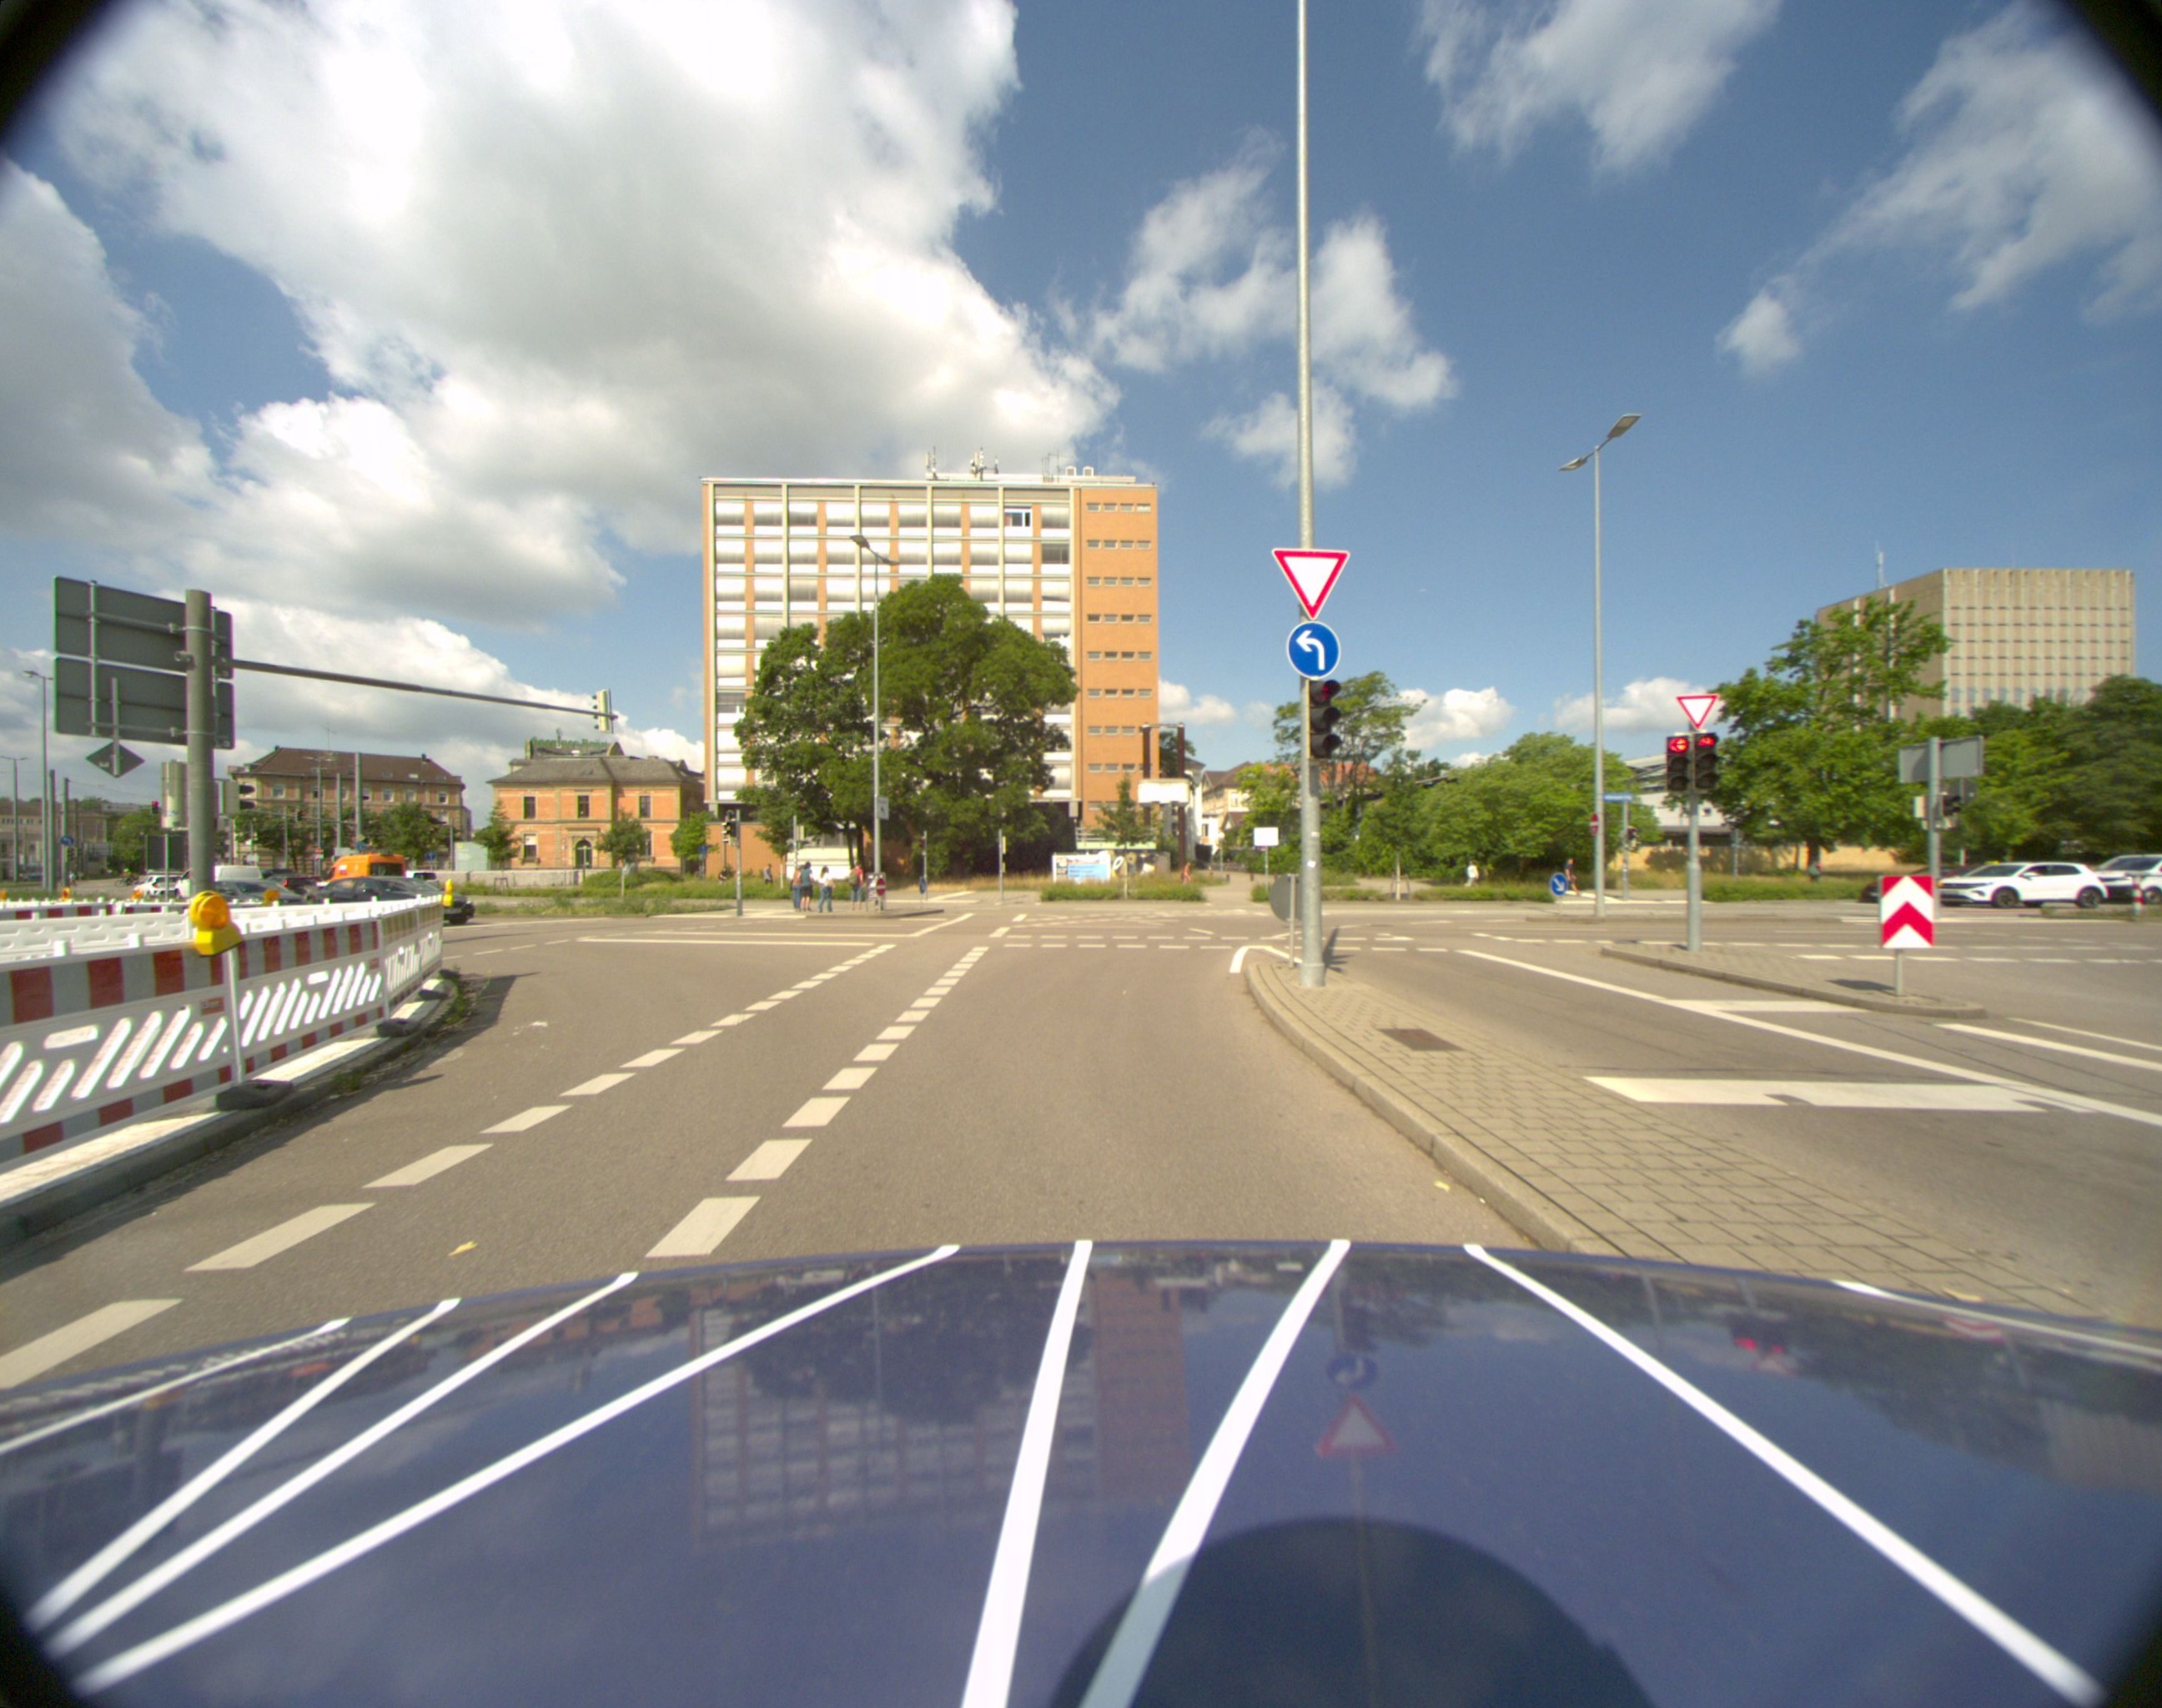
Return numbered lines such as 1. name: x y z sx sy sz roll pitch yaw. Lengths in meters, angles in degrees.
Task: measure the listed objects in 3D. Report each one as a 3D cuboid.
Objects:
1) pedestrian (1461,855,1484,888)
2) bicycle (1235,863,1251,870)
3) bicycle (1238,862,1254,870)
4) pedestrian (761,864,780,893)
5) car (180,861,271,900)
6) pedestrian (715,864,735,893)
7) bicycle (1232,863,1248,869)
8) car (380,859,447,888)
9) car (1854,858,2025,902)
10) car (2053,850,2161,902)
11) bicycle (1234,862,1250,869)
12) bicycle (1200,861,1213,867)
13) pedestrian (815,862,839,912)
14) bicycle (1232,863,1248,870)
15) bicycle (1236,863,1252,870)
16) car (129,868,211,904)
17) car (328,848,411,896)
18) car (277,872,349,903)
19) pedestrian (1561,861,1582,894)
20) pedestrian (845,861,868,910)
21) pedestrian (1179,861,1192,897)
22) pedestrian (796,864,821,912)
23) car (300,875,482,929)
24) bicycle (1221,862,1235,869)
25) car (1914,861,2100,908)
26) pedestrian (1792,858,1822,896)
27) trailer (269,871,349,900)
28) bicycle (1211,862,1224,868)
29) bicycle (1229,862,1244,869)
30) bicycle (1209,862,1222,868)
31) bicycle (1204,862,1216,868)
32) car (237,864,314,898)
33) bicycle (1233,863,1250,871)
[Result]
1. pedestrian: 19.308 0.849 37.469 0.720 1.628 0.871 -1 0 4
2. bicycle: 16.550 1.254 77.602 1.557 0.715 0.509 -1 0 5
3. bicycle: 16.925 1.234 78.149 1.557 0.715 0.509 -1 0 5
4. pedestrian: -19.028 1.492 46.537 0.665 1.773 0.791 -1 0 19
5. car: -45.643 1.380 40.527 4.626 1.955 2.016 -1 0 26
6. pedestrian: -21.726 1.491 46.370 0.665 1.773 0.792 0 0 23
7. bicycle: 16.933 1.278 80.875 1.557 0.715 0.509 -1 0 5
8. car: -43.921 1.262 50.023 3.989 1.784 2.004 -1 0 28
9. car: 32.505 0.974 28.849 4.458 1.631 1.687 0 -1 2
10. car: 40.104 0.794 28.411 4.820 1.859 1.949 0 0 3
11. bicycle: 16.901 1.251 79.763 1.557 0.715 0.509 -1 0 5
12. bicycle: 15.880 1.312 96.067 1.557 0.715 0.509 -1 0 5
13. pedestrian: -8.883 1.161 26.585 0.622 1.723 0.527 0 0 12
14. bicycle: 17.082 1.307 81.559 1.557 0.715 0.509 -1 0 5
15. bicycle: 16.945 1.265 78.975 1.557 0.715 0.509 -1 0 5
16. car: -52.871 1.802 44.084 4.626 1.927 2.001 -1 0 26
17. car: -43.231 1.069 46.170 4.626 2.764 2.141 -1 1 26
18. car: -51.212 2.171 50.644 4.626 1.927 2.001 -1 0 26
19. pedestrian: 22.475 1.063 34.811 0.551 1.499 0.773 0 0 8
20. pedestrian: -7.965 1.103 26.973 0.622 1.723 0.527 0 0 12
21. pedestrian: 5.060 1.220 36.826 0.577 1.723 0.663 0 0 10
22. pedestrian: -9.776 1.213 27.271 0.622 1.674 0.527 0 0 12
23. car: -19.423 1.315 21.441 4.219 1.380 1.800 -1 -1 15
24. bicycle: 16.598 1.267 85.692 1.557 0.715 0.509 -1 0 5
25. car: 31.578 1.028 26.006 4.007 1.530 1.798 0 -2 3
26. pedestrian: 32.864 1.032 34.393 0.678 1.725 0.745 -1 0 6
27. trailer: -42.838 1.719 42.155 3.989 1.468 2.004 -1 0 28
28. bicycle: 16.199 1.311 90.155 1.557 0.715 0.509 -1 0 5
29. bicycle: 16.901 1.264 82.515 1.557 0.715 0.509 -1 0 5
30. bicycle: 16.131 1.334 91.113 1.557 0.715 0.509 -1 0 5
31. bicycle: 16.167 1.326 95.234 1.557 0.715 0.509 -1 0 5
32. car: -46.278 1.531 43.652 3.989 1.816 2.004 -1 0 28
33. bicycle: 16.214 1.296 76.735 1.557 0.715 0.509 -1 0 5
